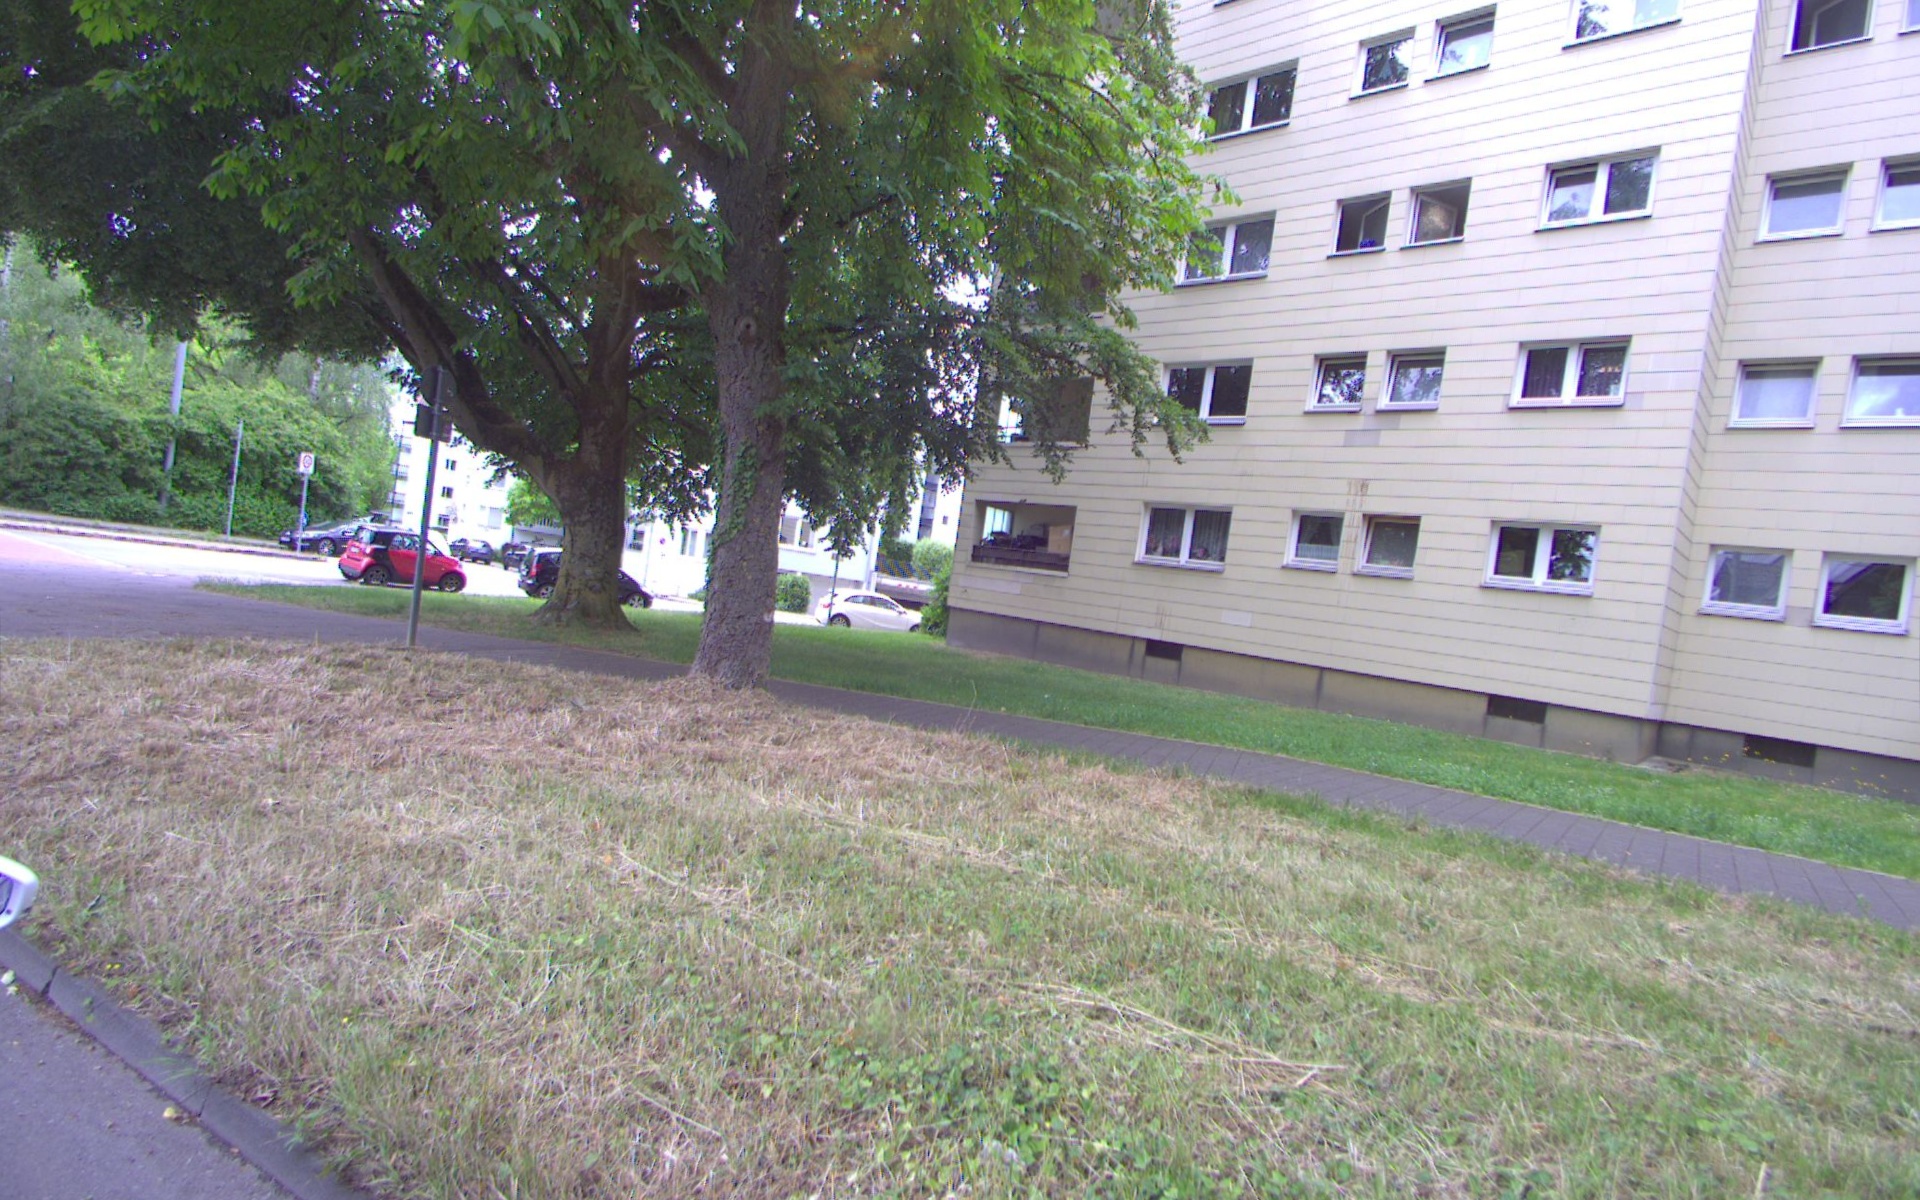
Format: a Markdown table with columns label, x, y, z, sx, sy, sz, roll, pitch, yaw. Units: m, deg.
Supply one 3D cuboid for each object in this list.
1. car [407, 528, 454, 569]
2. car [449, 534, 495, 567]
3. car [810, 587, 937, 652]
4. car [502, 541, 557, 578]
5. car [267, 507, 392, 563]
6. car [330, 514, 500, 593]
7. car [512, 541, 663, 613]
| label | x | y | z | sx | sy | sz | roll | pitch | yaw |
| --- | --- | --- | --- | --- | --- | --- | --- | --- | --- |
| car | -24.880 | -2.441 | 47.184 | 1.709 | 1.631 | 3.823 | 6 | 1 | -30 |
| car | -30.114 | -3.072 | 62.026 | 1.713 | 1.631 | 3.813 | 6 | 1 | -38 |
| car | -2.889 | 0.633 | 33.310 | 3.796 | 1.631 | 1.721 | 7 | 1 | -18 |
| car | -23.190 | -2.197 | 54.072 | 1.713 | 1.631 | 3.813 | 6 | 1 | -38 |
| car | -23.406 | -2.404 | 37.433 | 1.702 | 1.549 | 3.515 | 8 | 1 | 38 |
| car | -14.532 | -1.207 | 26.948 | 1.702 | 1.631 | 3.516 | 8 | 1 | 37 |
| car | -11.062 | -0.674 | 29.922 | 3.814 | 1.631 | 1.713 | 6 | 1 | -33 |
